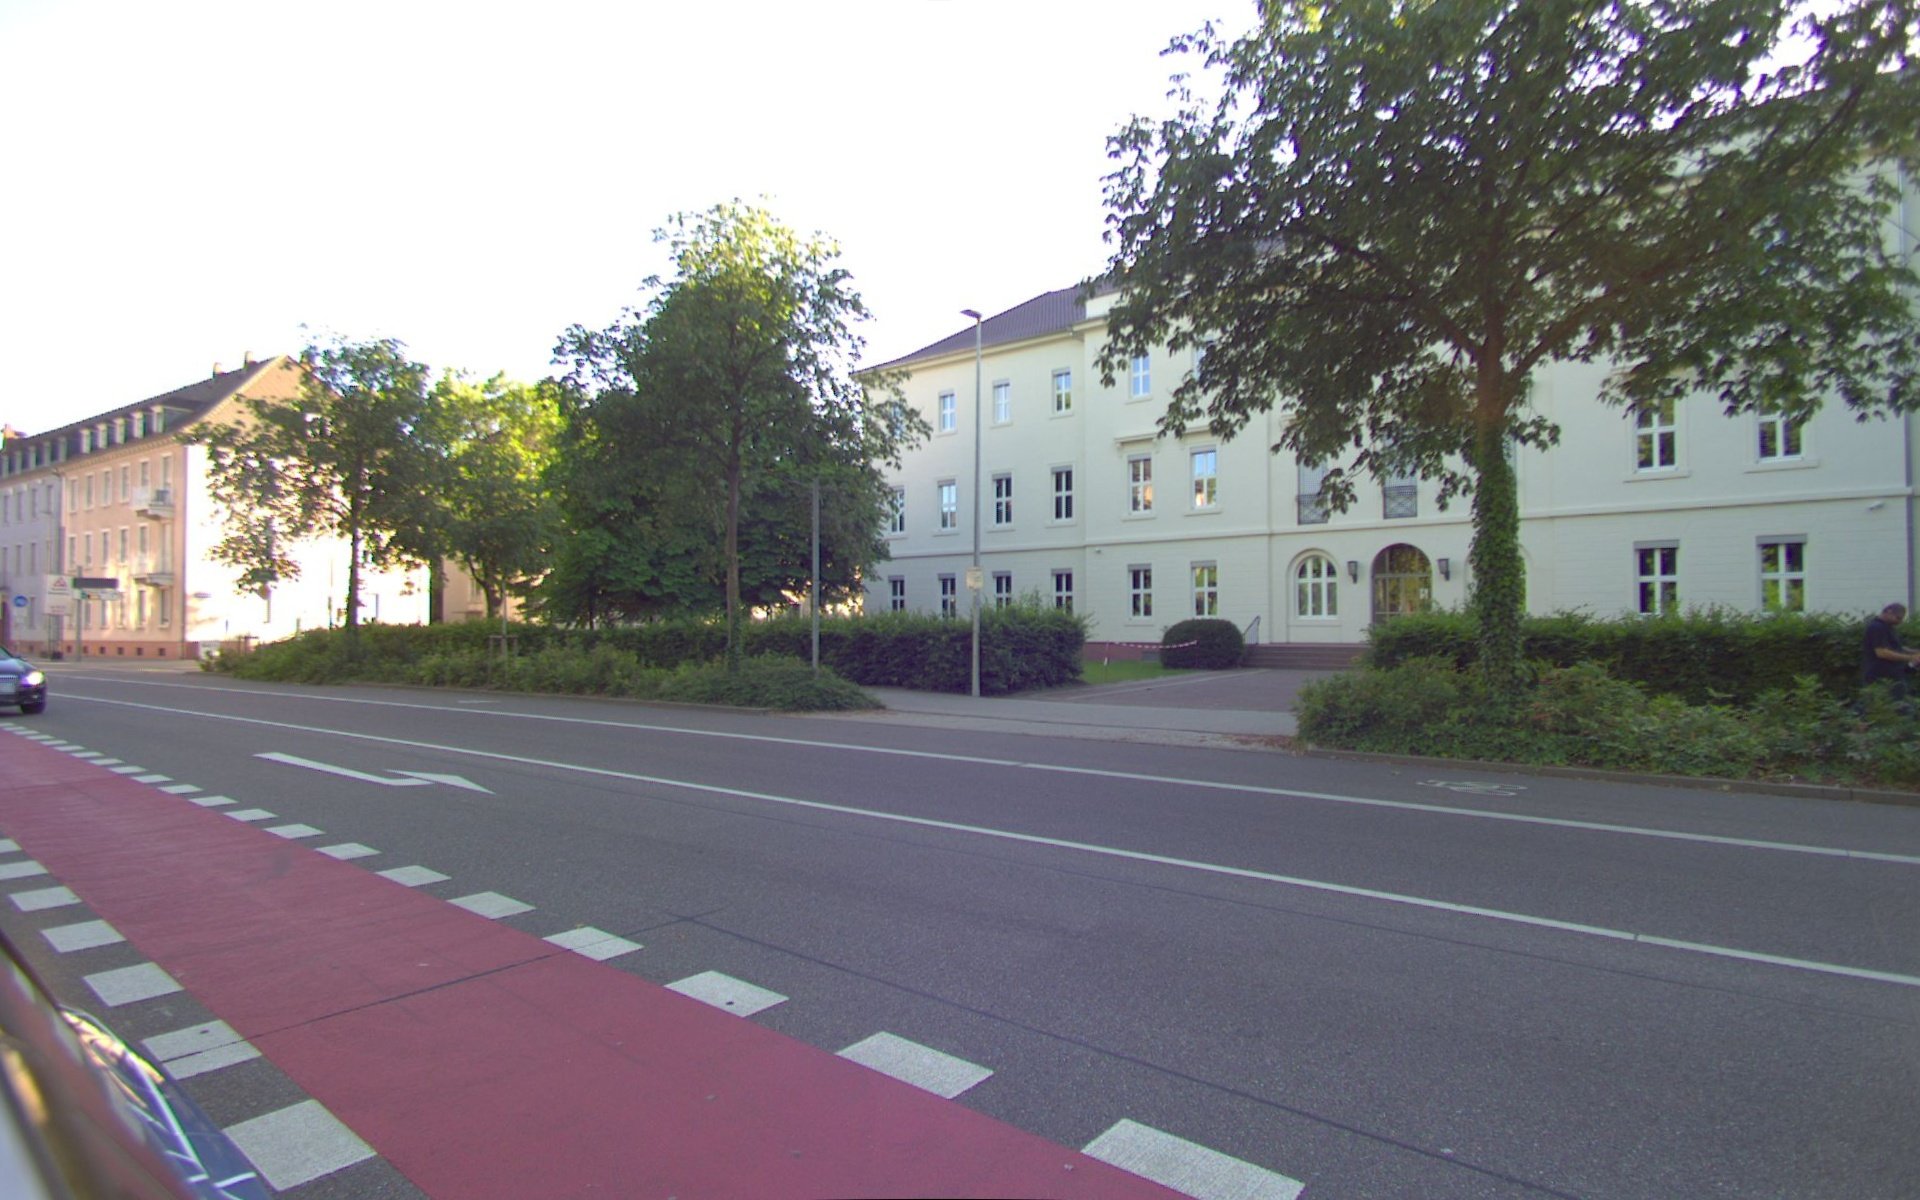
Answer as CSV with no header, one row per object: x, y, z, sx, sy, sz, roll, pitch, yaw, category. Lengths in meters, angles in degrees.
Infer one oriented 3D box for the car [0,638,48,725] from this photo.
-17.549,1.350,17.317,4.249,1.416,1.692,-1,-3,31,car

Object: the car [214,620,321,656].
-34.626,1.867,50.701,1.993,1.674,3.958,-1,-1,31,car

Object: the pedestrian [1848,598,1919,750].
11.170,0.864,11.965,0.968,1.733,0.825,-2,-3,42,pedestrian
